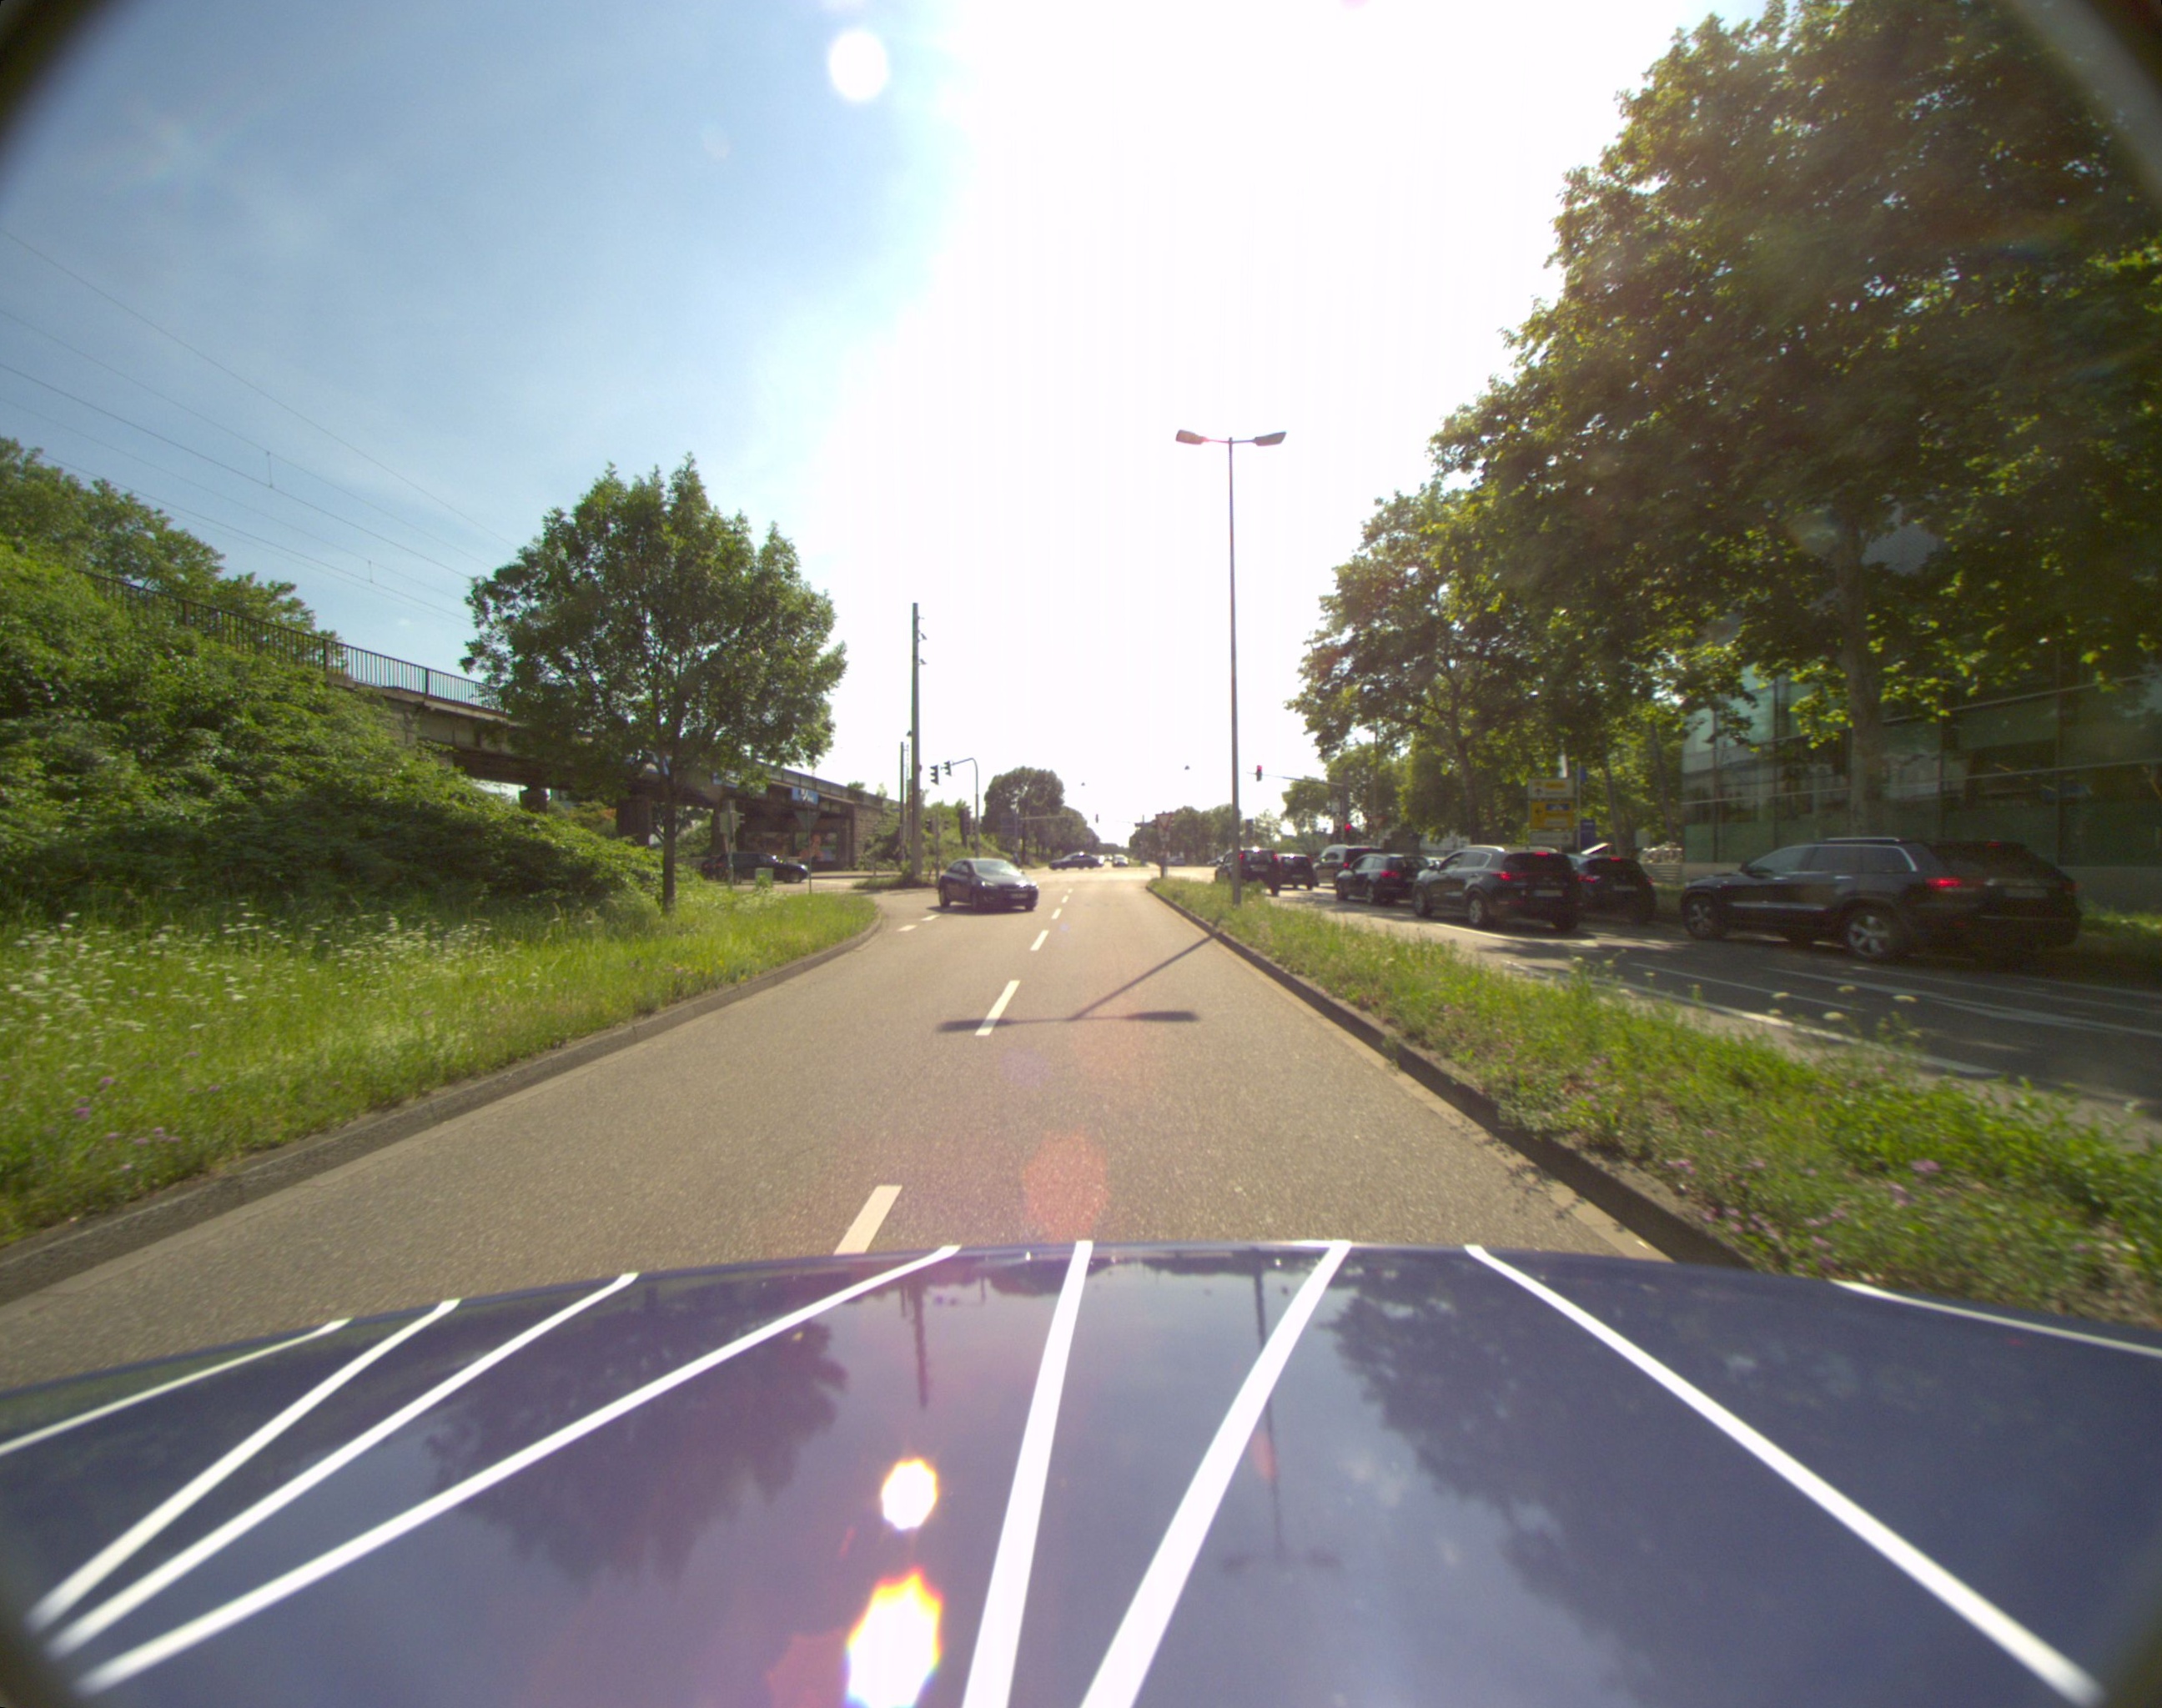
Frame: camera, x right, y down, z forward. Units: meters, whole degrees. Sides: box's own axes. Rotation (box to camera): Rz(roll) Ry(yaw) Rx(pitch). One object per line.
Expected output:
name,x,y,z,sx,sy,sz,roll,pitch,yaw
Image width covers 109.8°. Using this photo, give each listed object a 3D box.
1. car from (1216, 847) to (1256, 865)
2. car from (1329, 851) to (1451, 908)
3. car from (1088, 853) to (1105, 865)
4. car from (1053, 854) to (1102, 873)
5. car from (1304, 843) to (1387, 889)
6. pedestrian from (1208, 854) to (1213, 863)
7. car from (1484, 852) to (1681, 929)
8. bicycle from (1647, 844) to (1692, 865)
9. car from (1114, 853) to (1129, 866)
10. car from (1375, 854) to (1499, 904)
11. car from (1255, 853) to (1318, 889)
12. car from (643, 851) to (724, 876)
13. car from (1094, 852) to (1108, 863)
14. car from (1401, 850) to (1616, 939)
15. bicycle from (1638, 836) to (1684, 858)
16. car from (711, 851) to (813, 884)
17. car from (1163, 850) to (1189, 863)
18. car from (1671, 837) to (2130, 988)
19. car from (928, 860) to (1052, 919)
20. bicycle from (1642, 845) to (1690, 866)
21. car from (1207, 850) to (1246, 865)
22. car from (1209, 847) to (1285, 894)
car,15.061,0.174,73.801,1.994,1.699,4.440,0,0,39
car,8.992,0.675,22.591,1.840,1.454,4.517,2,1,1
car,2.021,0.613,95.828,1.714,1.384,4.003,-1,-2,7
car,-0.302,0.844,67.443,4.006,1.603,1.815,0,-2,-29
car,11.752,0.527,34.167,1.943,1.908,5.229,0,-1,0
pedestrian,21.235,0.705,124.484,0.578,1.515,0.880,0,0,-1
car,11.908,0.782,18.495,1.892,1.581,4.445,1,1,1
bicycle,31.529,0.036,40.712,0.741,1.104,1.795,-1,1,-38
car,5.211,0.702,97.345,1.714,1.498,4.003,-1,-2,7
car,11.771,0.764,25.554,1.895,1.441,5.004,1,0,1
car,8.965,0.716,33.466,1.766,1.467,3.958,0,0,0
car,-26.327,0.614,50.352,4.569,1.540,1.826,0,0,-34
car,3.065,0.594,113.761,1.714,1.498,4.003,-1,-2,7
car,8.642,0.734,15.926,1.998,1.601,4.496,0,0,1
bicycle,30.263,-0.344,39.664,0.741,1.104,1.795,-1,1,-38
car,-16.249,0.667,38.762,4.454,1.586,1.995,0,0,-37
car,13.909,0.355,111.444,2.001,1.713,5.159,-1,-2,-16
car,11.814,0.718,11.610,1.998,1.824,4.651,1,0,1
car,-2.733,0.929,21.913,1.831,1.498,4.205,-1,0,-34
bicycle,30.898,0.071,40.165,0.741,1.104,1.881,-1,1,-38
car,15.734,0.350,82.275,4.007,1.619,1.768,0,1,-32
car,6.074,0.565,28.316,1.812,1.606,4.490,0,0,0
